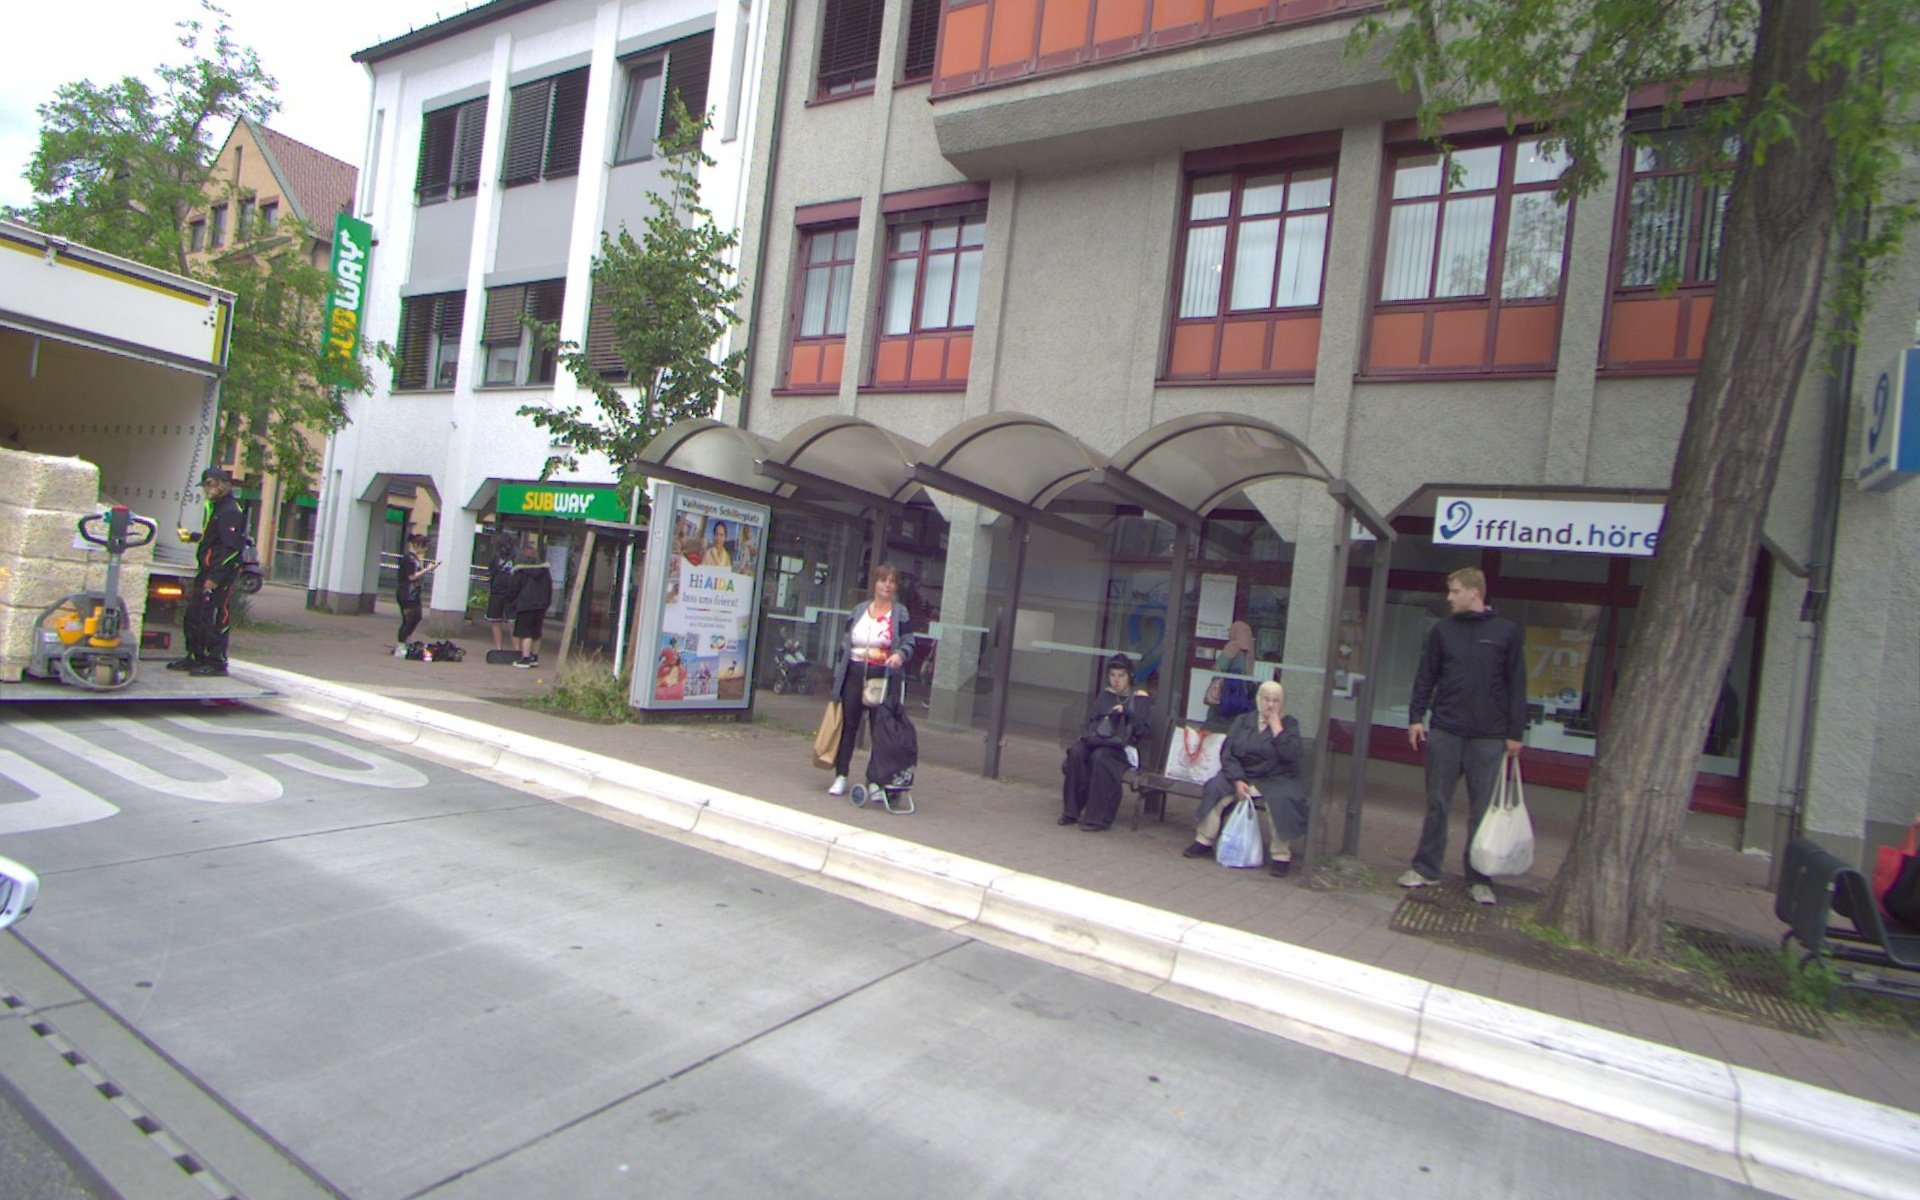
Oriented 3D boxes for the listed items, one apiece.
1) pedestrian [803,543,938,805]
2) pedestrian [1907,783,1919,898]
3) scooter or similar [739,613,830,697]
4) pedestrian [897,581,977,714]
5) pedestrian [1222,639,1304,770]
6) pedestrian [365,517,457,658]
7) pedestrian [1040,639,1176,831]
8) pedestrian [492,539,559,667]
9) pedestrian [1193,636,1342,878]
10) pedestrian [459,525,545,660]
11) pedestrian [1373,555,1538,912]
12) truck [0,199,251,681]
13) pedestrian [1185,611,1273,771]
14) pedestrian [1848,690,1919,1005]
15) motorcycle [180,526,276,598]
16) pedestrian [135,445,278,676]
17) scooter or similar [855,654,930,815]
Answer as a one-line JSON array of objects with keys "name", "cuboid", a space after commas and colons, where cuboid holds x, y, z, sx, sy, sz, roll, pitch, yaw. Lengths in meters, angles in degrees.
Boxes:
[{"name": "pedestrian", "cuboid": [-0.599, 0.500, 6.909, 0.577, 1.652, 0.537, 8, -2, 7]}, {"name": "pedestrian", "cuboid": [8.400, 1.700, 8.296, 0.605, 1.654, 0.587, 7, 0, 32]}, {"name": "scooter or similar", "cuboid": [-2.457, 0.763, 14.045, 1.115, 1.012, 0.429, 7, 0, 28]}, {"name": "pedestrian", "cuboid": [-0.297, 0.635, 13.339, 0.604, 1.654, 0.728, 7, 0, 23]}, {"name": "pedestrian", "cuboid": [3.484, 1.190, 11.549, 0.605, 1.392, 0.587, 7, -1, 34]}, {"name": "pedestrian", "cuboid": [-7.323, -0.162, 13.440, 0.578, 1.758, 0.615, 7, -3, 28]}, {"name": "pedestrian", "cuboid": [1.078, 0.947, 7.286, 0.580, 1.248, 0.698, 7, 2, 41]}, {"name": "pedestrian", "cuboid": [-5.860, 0.041, 13.584, 0.578, 1.631, 0.613, 6, 0, -13]}, {"name": "pedestrian", "cuboid": [1.993, 0.983, 6.513, 0.580, 1.419, 0.611, 6, 1, 45]}, {"name": "pedestrian", "cuboid": [-6.609, -0.097, 14.543, 0.752, 1.841, 0.615, 6, 0, 8]}, {"name": "pedestrian", "cuboid": [3.100, 0.795, 6.292, 0.580, 2.073, 0.611, 6, 1, 45]}, {"name": "truck", "cuboid": [-11.293, -1.662, 10.370, 9.604, 3.604, 2.693, 7, -1, 32]}, {"name": "pedestrian", "cuboid": [2.989, 1.001, 11.158, 0.605, 1.654, 0.587, 7, 0, 33]}, {"name": "pedestrian", "cuboid": [5.271, 1.334, 5.390, 0.669, 1.585, 0.486, 9, 0, -38]}, {"name": "motorcycle", "cuboid": [-15.655, -0.825, 21.500, 2.071, 1.286, 0.738, 7, 0, 28]}, {"name": "pedestrian", "cuboid": [-6.156, -0.308, 8.234, 0.578, 1.801, 0.614, 6, 0, 28]}, {"name": "scooter or similar", "cuboid": [-0.446, 0.867, 6.589, 0.349, 0.971, 0.384, 7, 0, -9]}]
